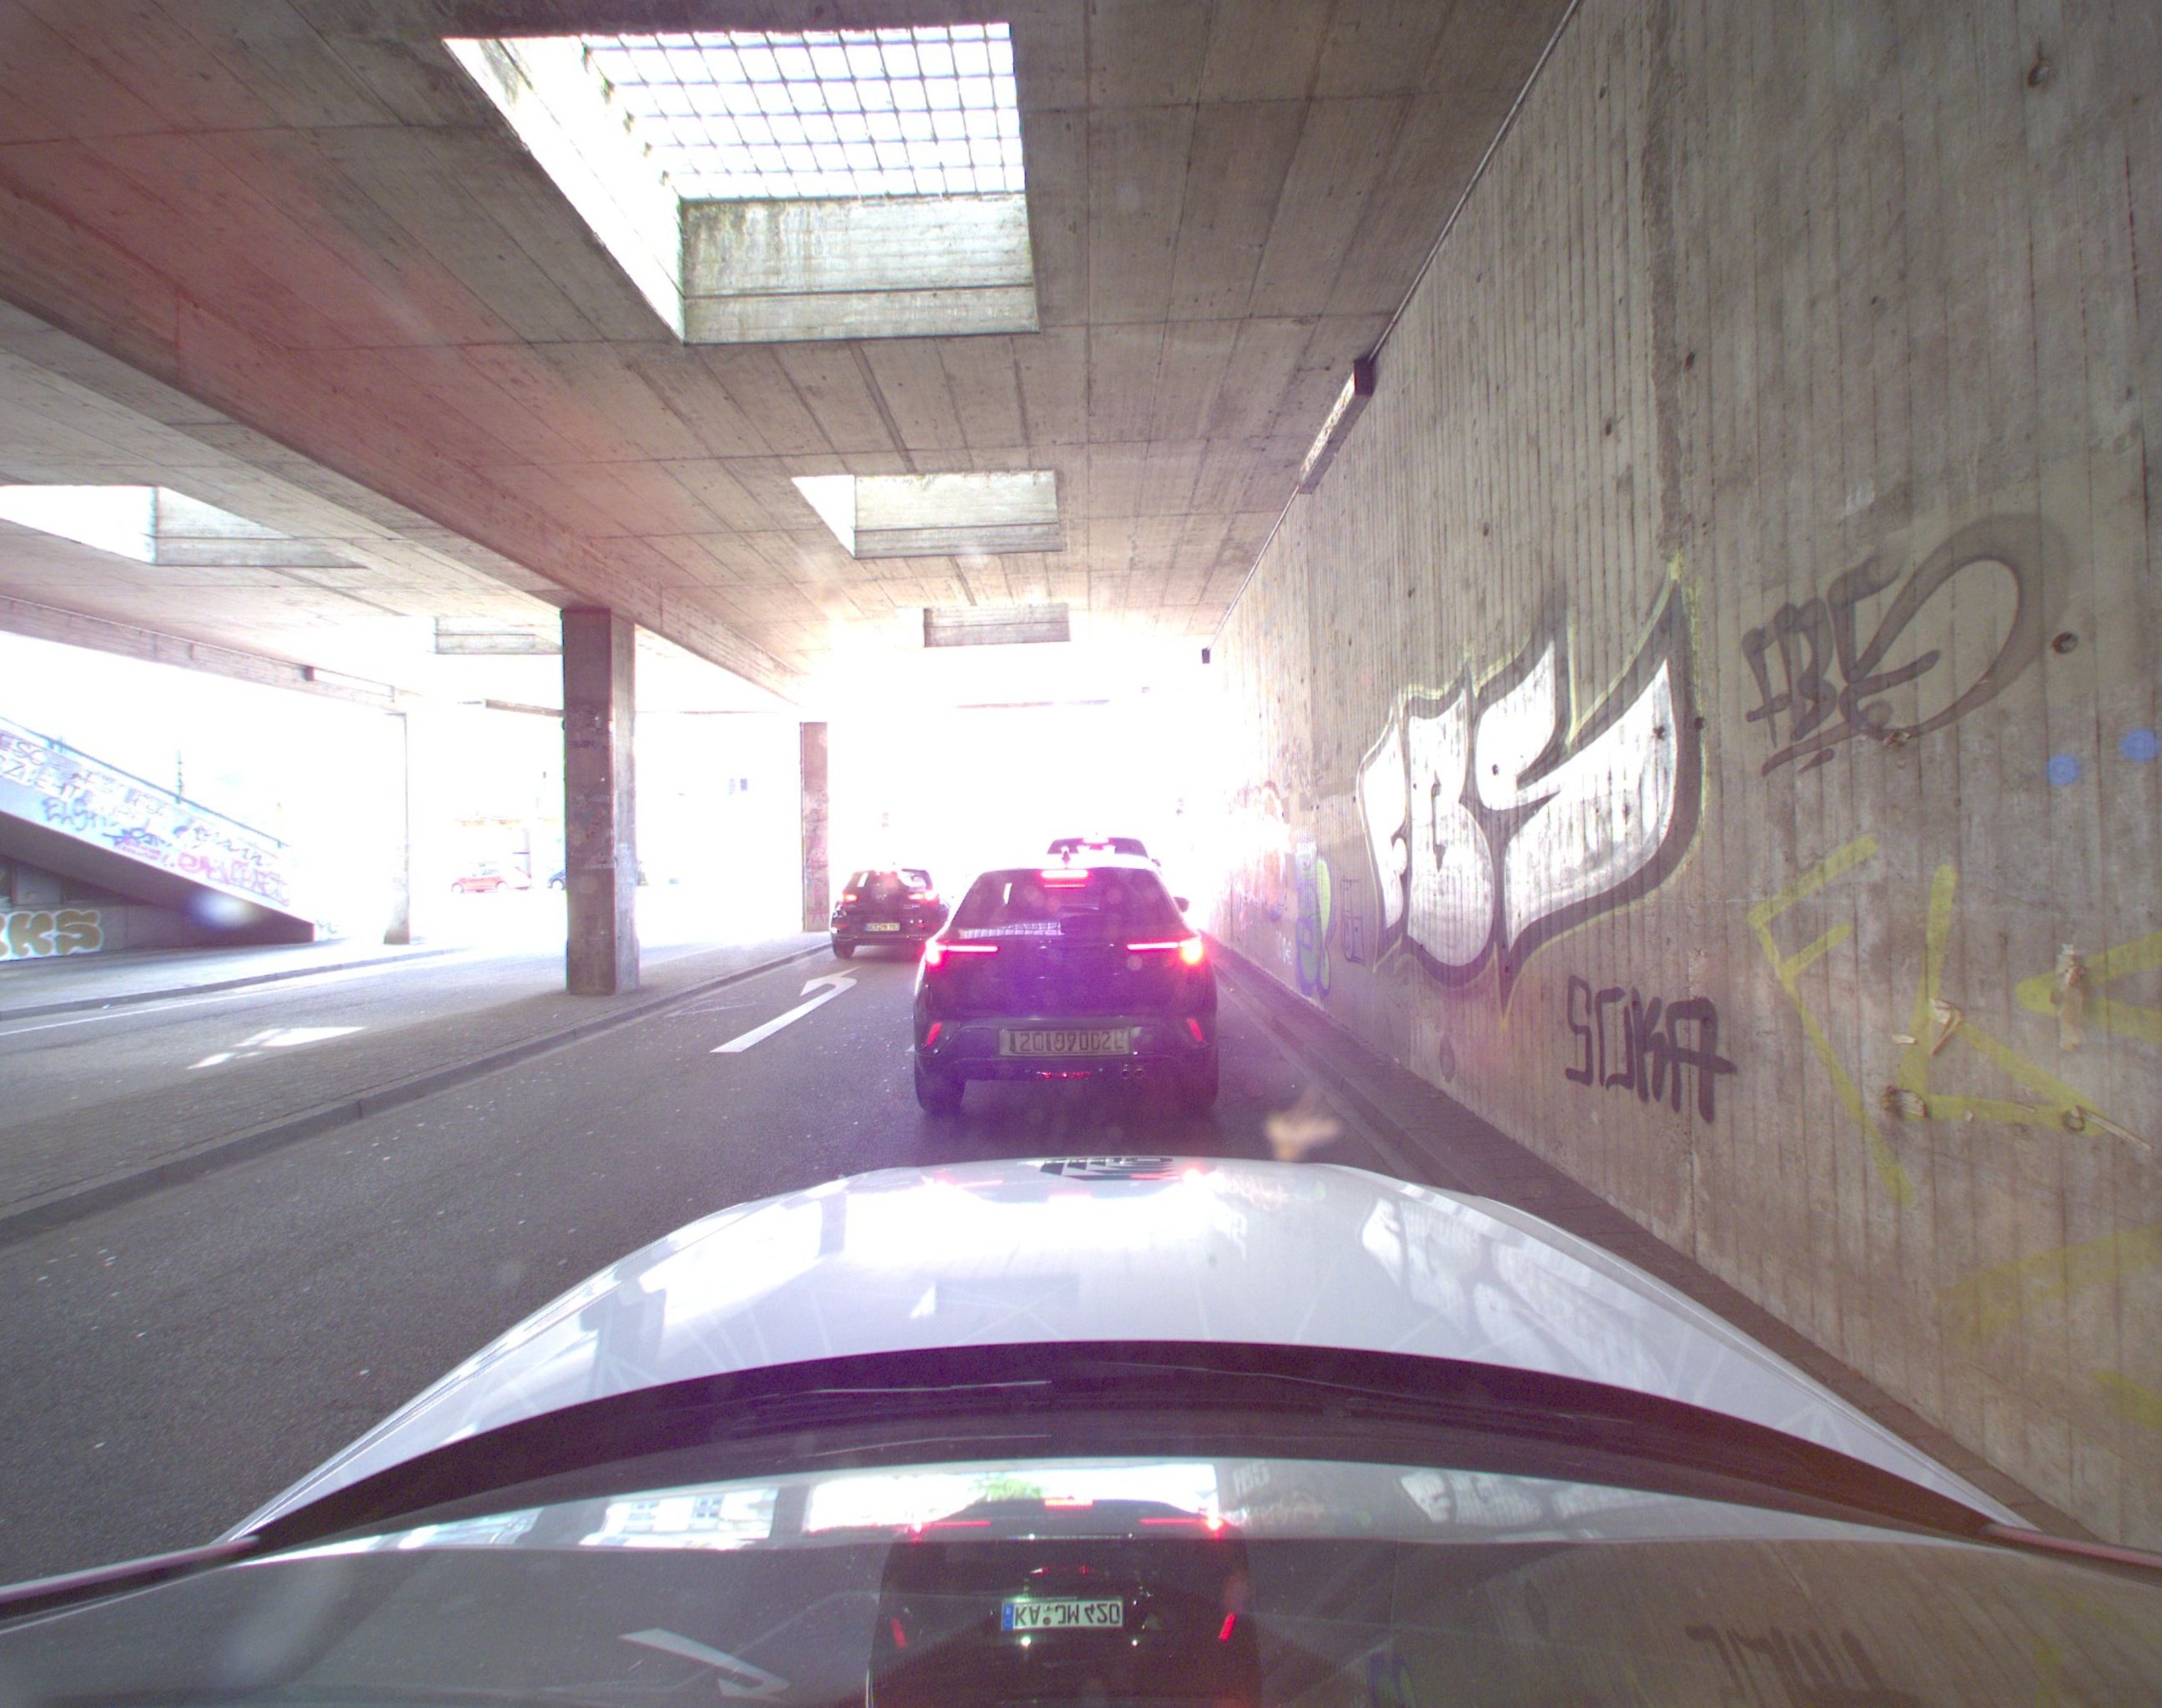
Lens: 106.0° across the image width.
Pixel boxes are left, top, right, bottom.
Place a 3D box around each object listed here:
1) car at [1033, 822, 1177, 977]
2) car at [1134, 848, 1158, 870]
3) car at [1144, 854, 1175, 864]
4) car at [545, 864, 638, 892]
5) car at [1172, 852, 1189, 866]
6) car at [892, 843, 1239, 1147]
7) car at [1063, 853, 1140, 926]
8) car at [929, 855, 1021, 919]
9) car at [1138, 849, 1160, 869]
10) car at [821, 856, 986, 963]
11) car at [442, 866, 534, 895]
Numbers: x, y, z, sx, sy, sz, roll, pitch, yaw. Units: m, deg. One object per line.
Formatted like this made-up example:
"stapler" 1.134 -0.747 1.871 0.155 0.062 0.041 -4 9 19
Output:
"car" 0.365 0.567 12.167 1.755 1.883 4.148 -1 0 2
"car" 4.976 0.374 62.254 1.745 1.667 3.950 0 -1 6
"car" 12.851 0.844 133.690 4.814 1.667 1.812 0 -1 -19
"car" -27.164 1.326 45.293 4.096 1.475 1.737 -1 -1 0
"car" 12.092 0.614 98.501 1.742 1.667 3.956 -1 -1 11
"car" -0.019 0.727 6.227 1.755 1.531 4.091 -1 0 2
"car" 0.501 0.761 19.385 1.603 1.513 4.055 -1 0 2
"car" -2.651 0.796 21.214 1.755 1.480 3.846 -1 0 2
"car" 5.763 0.417 68.358 1.745 1.667 3.950 0 -1 6
"car" -2.740 0.800 13.486 1.755 1.480 3.846 -1 0 2
"car" -32.920 1.451 45.271 3.748 1.475 1.749 -1 -1 0
